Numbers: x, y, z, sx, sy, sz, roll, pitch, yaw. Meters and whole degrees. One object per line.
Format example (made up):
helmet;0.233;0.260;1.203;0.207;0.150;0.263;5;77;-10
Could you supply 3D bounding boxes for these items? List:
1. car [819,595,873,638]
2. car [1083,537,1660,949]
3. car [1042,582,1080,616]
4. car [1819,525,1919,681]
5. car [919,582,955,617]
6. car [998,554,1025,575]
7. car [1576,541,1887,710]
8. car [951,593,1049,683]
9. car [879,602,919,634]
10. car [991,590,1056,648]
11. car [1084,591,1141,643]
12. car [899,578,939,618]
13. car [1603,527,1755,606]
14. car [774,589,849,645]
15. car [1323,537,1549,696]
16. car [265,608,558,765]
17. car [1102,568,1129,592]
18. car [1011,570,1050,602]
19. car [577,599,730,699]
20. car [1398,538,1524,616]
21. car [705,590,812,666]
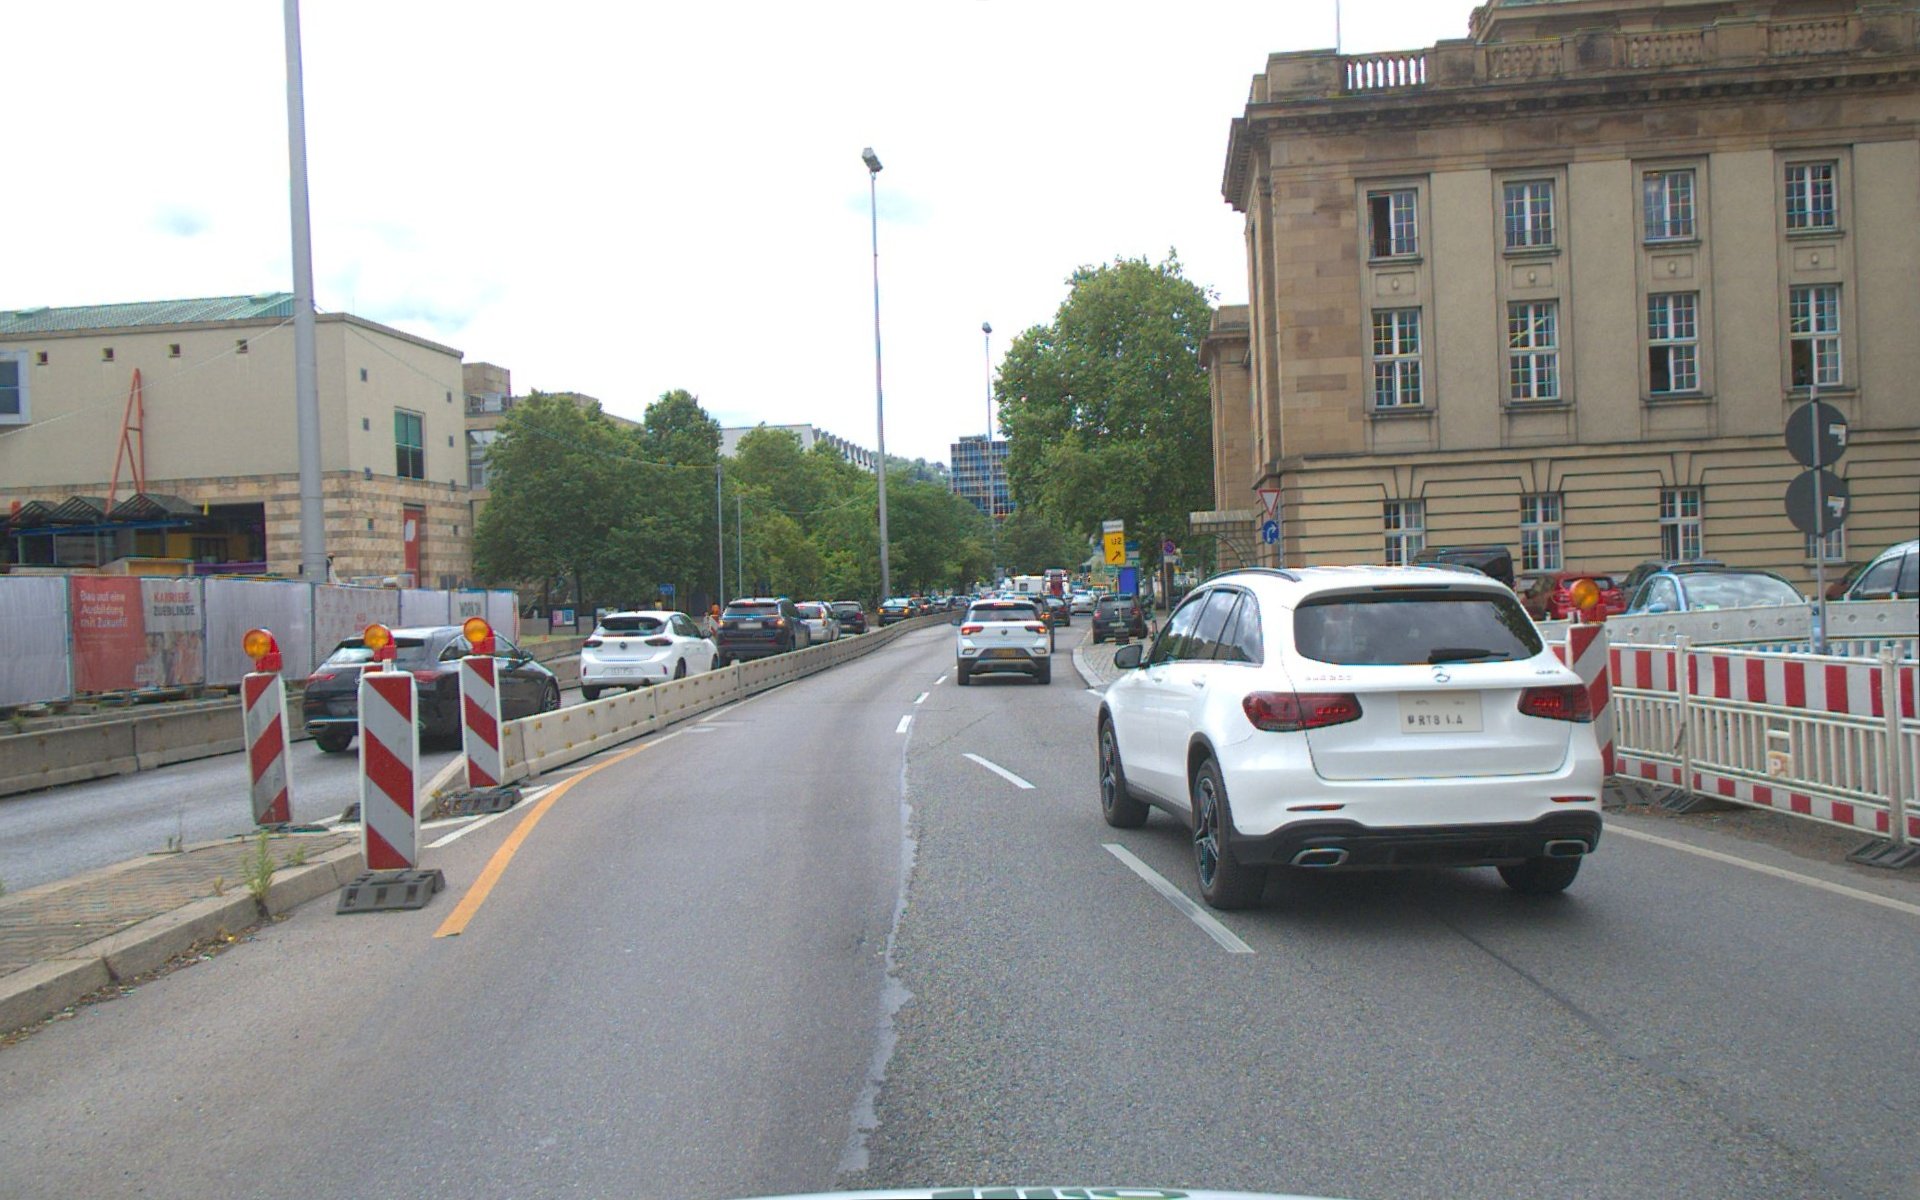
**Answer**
car;-4.529;0.633;66.246;1.714;1.595;4.332;-2;0;2
car;1.977;0.607;9.481;1.776;1.671;4.548;-4;0;-5
car;5.087;-0.084;82.520;1.785;1.595;4.483;0;1;5
car;10.695;0.002;17.038;1.713;1.595;4.334;-2;0;5
car;-1.434;-0.043;106.371;1.952;2.048;4.003;-3;2;3
car;6.418;-4.378;205.065;2.527;2.415;5.531;-3;1;9
car;8.362;0.263;18.387;1.713;1.595;4.334;-2;0;5
car;0.838;0.684;32.050;1.714;1.595;4.333;-1;0;4
car;-3.192;0.931;87.388;1.714;1.595;4.332;-2;0;2
car;1.831;0.556;48.755;1.786;1.595;4.480;-1;0;1
car;5.001;0.519;54.327;1.785;1.595;4.483;0;1;5
car;-2.346;-0.133;95.713;1.952;2.048;4.002;-3;2;2
car;16.098;-0.705;37.280;1.817;1.595;4.334;-2;0;5
car;-4.611;0.510;51.931;1.714;1.595;4.333;-2;0;2
car;5.443;0.187;19.437;1.713;1.595;4.334;-2;0;5
car;-6.449;0.945;20.011;1.713;1.595;4.334;-2;0;5
car;17.258;-2.220;183.504;2.527;2.415;5.531;-3;1;9
car;5.871;-1.181;137.401;2.527;2.415;5.531;-3;1;9
car;-5.276;0.809;28.865;1.713;1.595;3.379;-1;0;6
car;11.235;-0.475;37.363;1.817;1.595;4.334;-2;0;5
car;-4.745;0.629;39.430;1.714;1.594;3.379;-5;0;6
